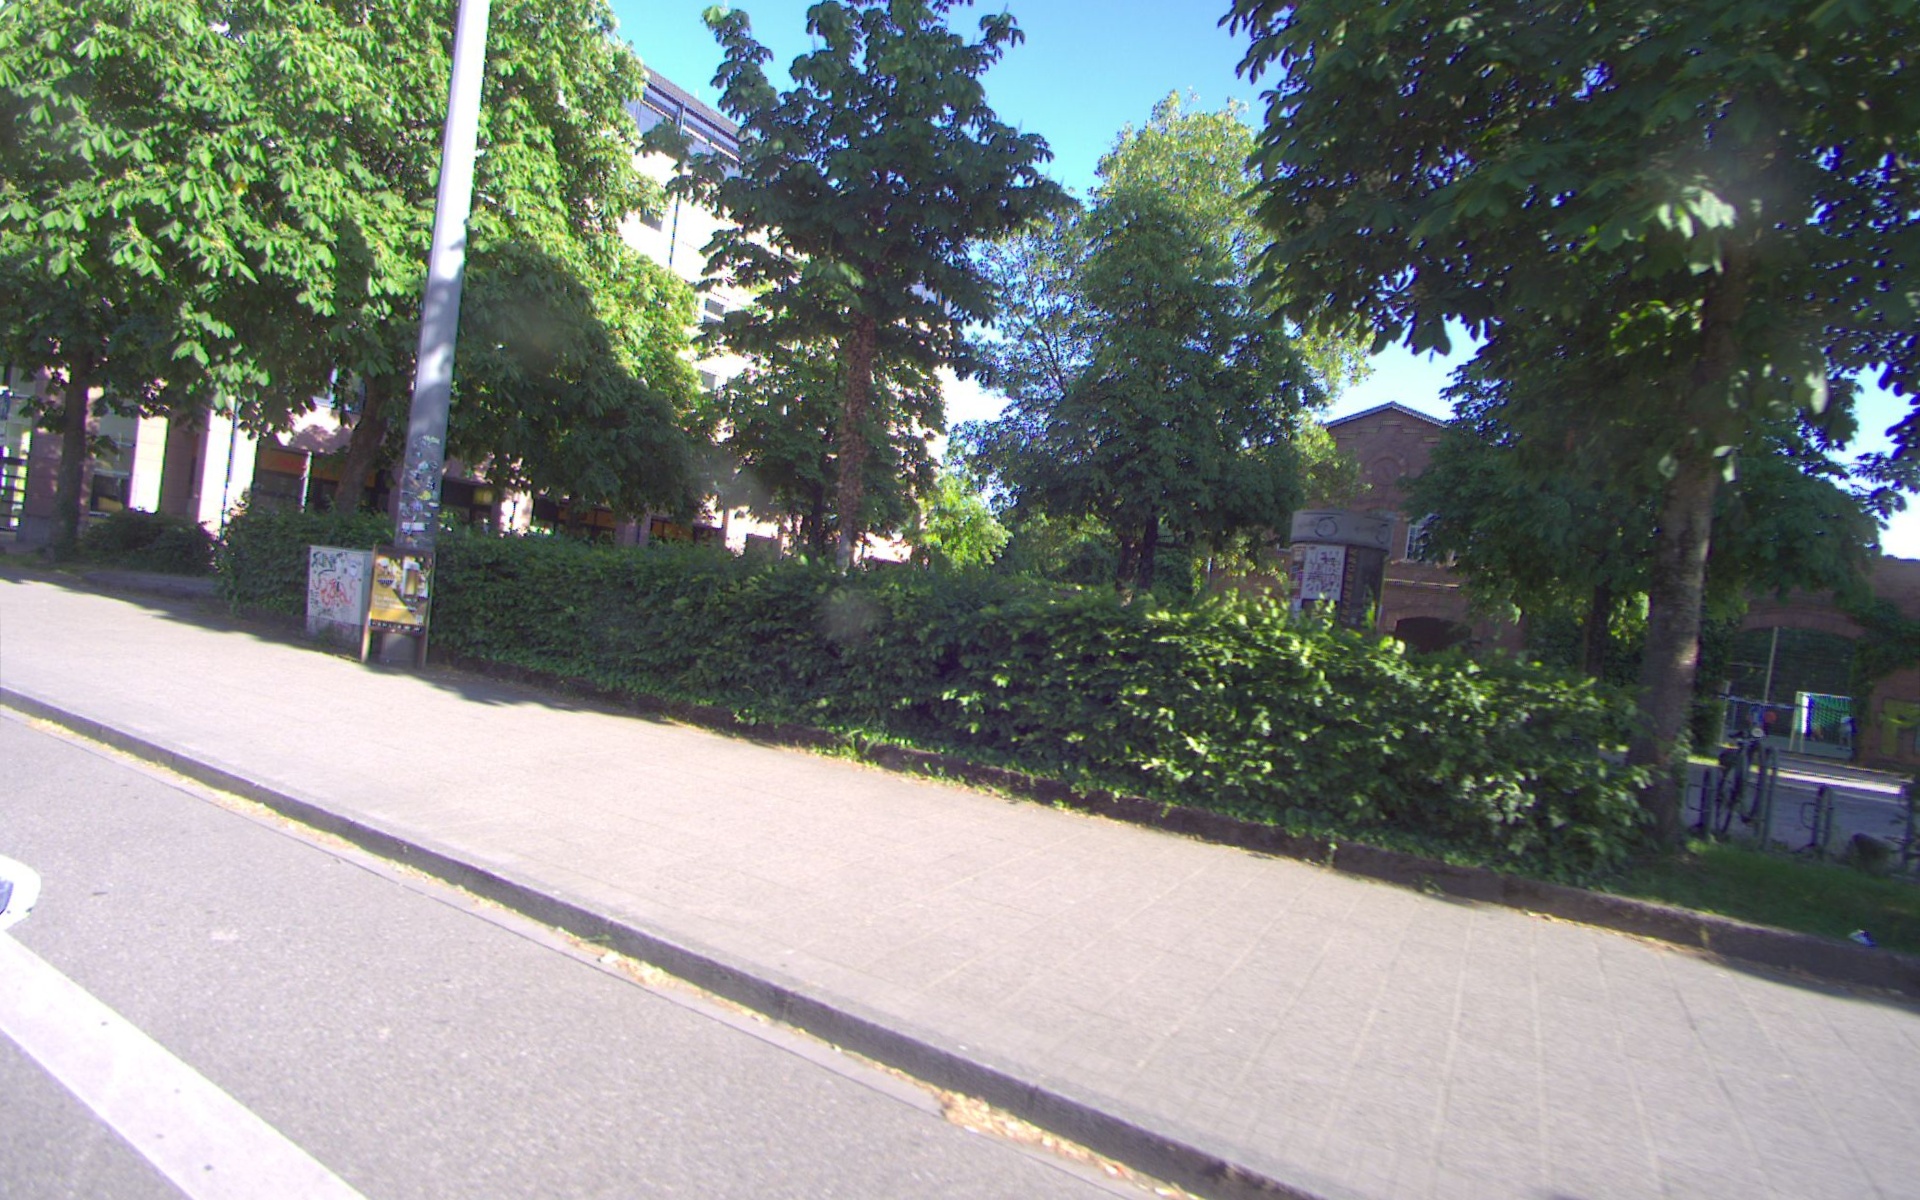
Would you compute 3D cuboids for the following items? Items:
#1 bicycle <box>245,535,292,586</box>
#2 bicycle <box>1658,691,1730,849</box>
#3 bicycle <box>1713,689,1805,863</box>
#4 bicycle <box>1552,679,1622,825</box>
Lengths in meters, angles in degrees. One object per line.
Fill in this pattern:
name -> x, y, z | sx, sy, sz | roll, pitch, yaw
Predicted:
bicycle -> -15.378, -0.895, 22.358 | 0.417, 1.009, 2.194 | 6, -1, -44
bicycle -> 6.710, 1.498, 9.224 | 0.365, 1.256, 1.753 | 7, 1, 35
bicycle -> 7.049, 1.498, 8.921 | 0.365, 1.351, 1.653 | 9, 2, 35
bicycle -> 6.066, 1.414, 9.699 | 0.365, 1.256, 1.620 | 7, 1, 35
